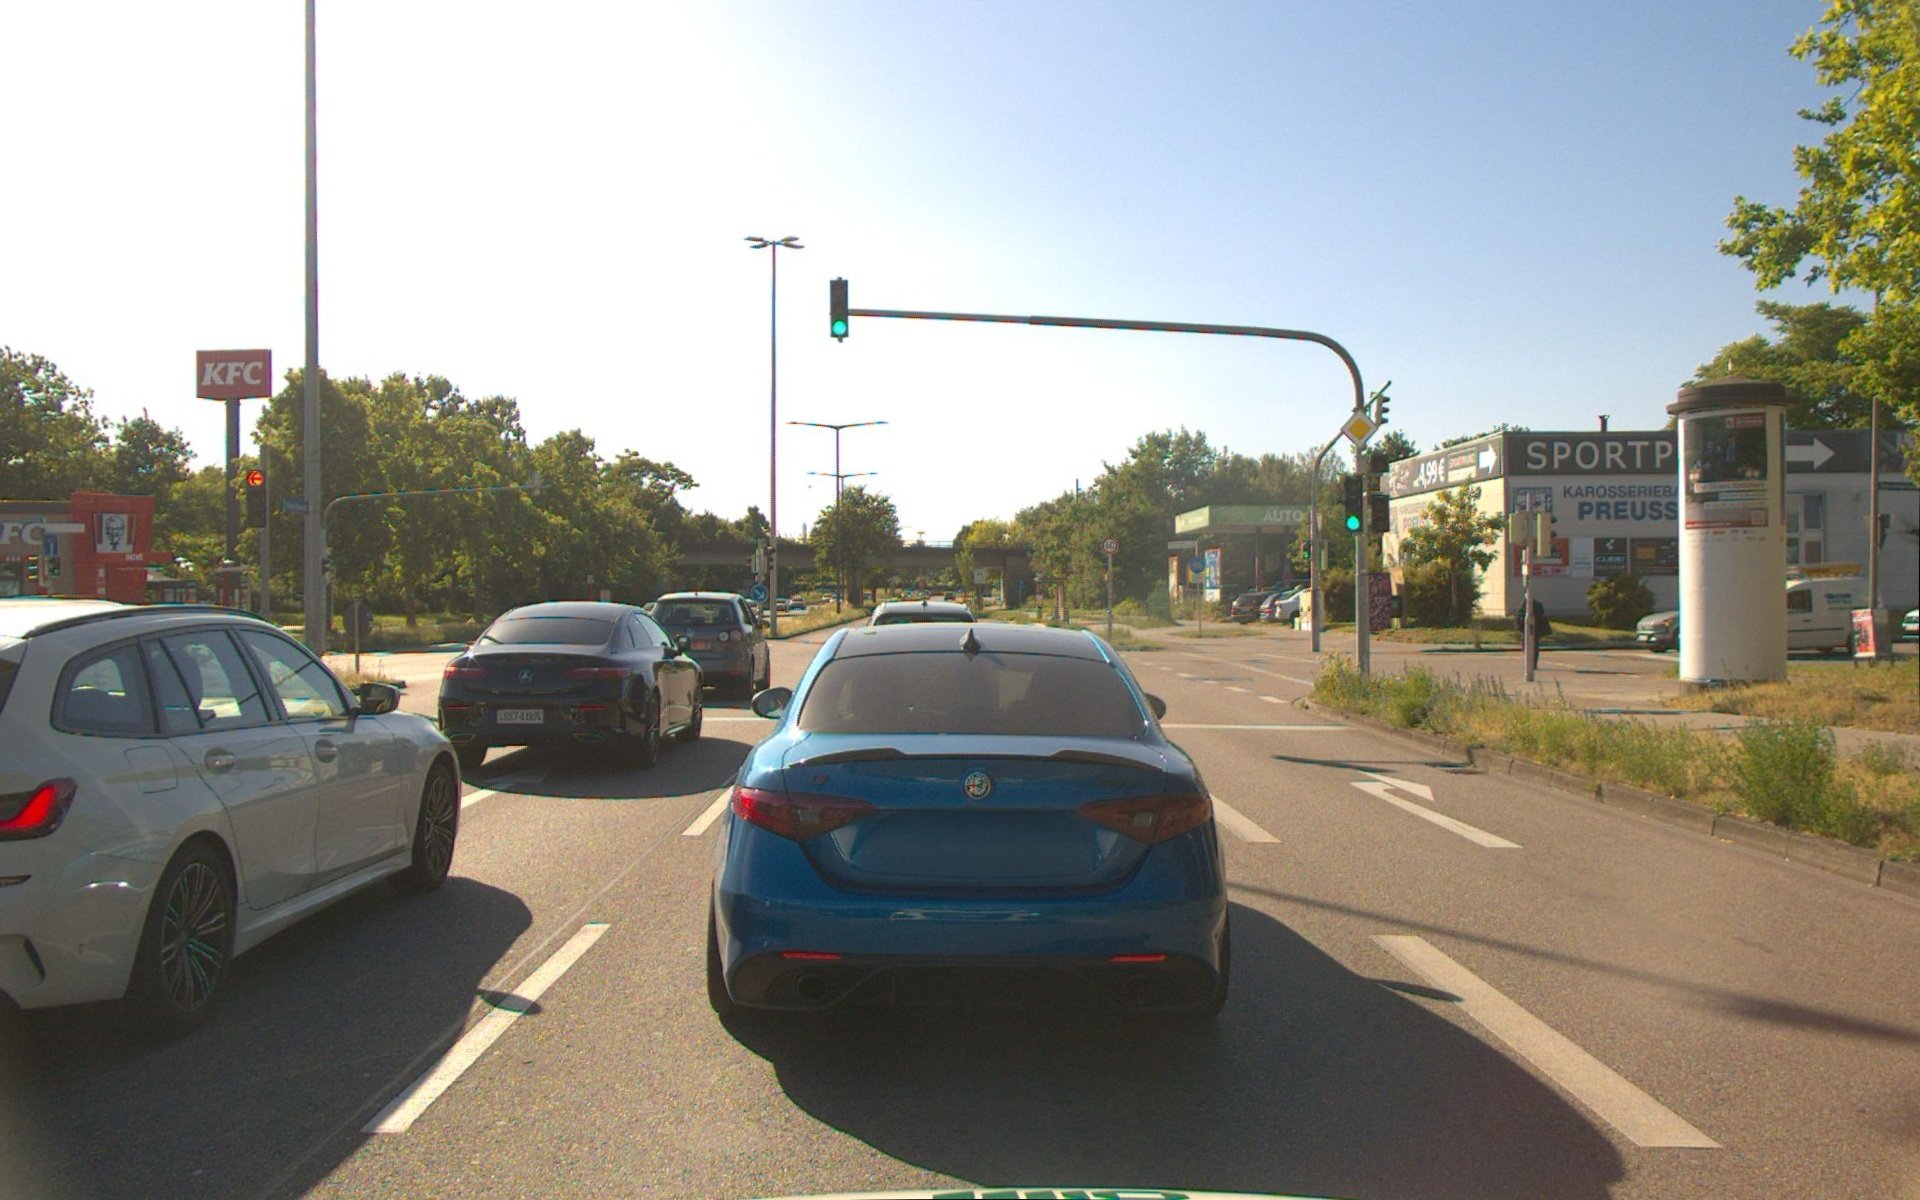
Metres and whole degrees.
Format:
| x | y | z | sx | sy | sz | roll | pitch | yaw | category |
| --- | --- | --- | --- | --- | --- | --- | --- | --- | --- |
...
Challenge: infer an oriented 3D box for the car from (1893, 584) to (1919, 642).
| x | y | z | sx | sy | sz | roll | pitch | yaw | category |
| --- | --- | --- | --- | --- | --- | --- | --- | --- | --- |
| 26.876 | 0.275 | 43.260 | 3.960 | 1.516 | 1.782 | -2 | 0 | -3 | car |

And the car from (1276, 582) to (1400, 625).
| x | y | z | sx | sy | sz | roll | pitch | yaw | category |
| --- | --- | --- | --- | --- | --- | --- | --- | --- | --- |
| 14.667 | 0.135 | 64.350 | 4.397 | 1.479 | 1.858 | -2 | 0 | 1 | car |

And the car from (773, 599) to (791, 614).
| x | y | z | sx | sy | sz | roll | pitch | yaw | category |
| --- | --- | --- | --- | --- | --- | --- | --- | --- | --- |
| -19.057 | 0.730 | 177.457 | 1.583 | 1.587 | 3.357 | 1 | -1 | -1 | car |

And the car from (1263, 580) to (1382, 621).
| x | y | z | sx | sy | sz | roll | pitch | yaw | category |
| --- | --- | --- | --- | --- | --- | --- | --- | --- | --- |
| 14.681 | 0.031 | 67.107 | 4.397 | 1.479 | 1.858 | -2 | 0 | 1 | car |

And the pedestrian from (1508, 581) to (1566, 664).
| x | y | z | sx | sy | sz | roll | pitch | yaw | category |
| --- | --- | --- | --- | --- | --- | --- | --- | --- | --- |
| 12.552 | 0.484 | 36.010 | 0.906 | 1.766 | 0.938 | 1 | -1 | -1 | pedestrian |

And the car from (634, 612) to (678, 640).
| x | y | z | sx | sy | sz | roll | pitch | yaw | category |
| --- | --- | --- | --- | --- | --- | --- | --- | --- | --- |
| -17.506 | 1.505 | 95.528 | 1.723 | 1.516 | 4.477 | -2 | 0 | -1 | car |

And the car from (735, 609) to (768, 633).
| x | y | z | sx | sy | sz | roll | pitch | yaw | category |
| --- | --- | --- | --- | --- | --- | --- | --- | --- | --- |
| -13.966 | 1.400 | 110.744 | 1.723 | 1.516 | 3.836 | -2 | 0 | -1 | car |

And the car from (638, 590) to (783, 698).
| x | y | z | sx | sy | sz | roll | pitch | yaw | category |
| --- | --- | --- | --- | --- | --- | --- | --- | --- | --- |
| -3.819 | 0.659 | 25.980 | 1.723 | 1.516 | 4.401 | 1 | -1 | -2 | car |

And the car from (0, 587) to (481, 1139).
| x | y | z | sx | sy | sz | roll | pitch | yaw | category |
| --- | --- | --- | --- | --- | --- | --- | --- | --- | --- |
| -3.415 | 0.731 | 6.724 | 1.749 | 1.516 | 4.401 | 1 | -1 | -2 | car |

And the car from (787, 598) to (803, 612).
| x | y | z | sx | sy | sz | roll | pitch | yaw | category |
| --- | --- | --- | --- | --- | --- | --- | --- | --- | --- |
| -19.651 | 0.590 | 197.026 | 1.577 | 1.675 | 3.462 | 1 | -1 | -1 | car |

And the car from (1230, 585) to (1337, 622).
| x | y | z | sx | sy | sz | roll | pitch | yaw | category |
| --- | --- | --- | --- | --- | --- | --- | --- | --- | --- |
| 14.385 | 0.165 | 73.725 | 4.397 | 1.479 | 1.858 | -2 | 0 | 1 | car |

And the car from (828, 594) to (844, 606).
| x | y | z | sx | sy | sz | roll | pitch | yaw | category |
| --- | --- | --- | --- | --- | --- | --- | --- | --- | --- |
| -15.960 | -0.006 | 213.649 | 1.723 | 1.516 | 4.477 | -2 | 0 | -1 | car |

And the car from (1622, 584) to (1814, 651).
| x | y | z | sx | sy | sz | roll | pitch | yaw | category |
| --- | --- | --- | --- | --- | --- | --- | --- | --- | --- |
| 19.622 | 0.437 | 42.927 | 4.201 | 1.576 | 1.764 | -1 | 1 | -2 | car |

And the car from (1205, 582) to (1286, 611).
| x | y | z | sx | sy | sz | roll | pitch | yaw | category |
| --- | --- | --- | --- | --- | --- | --- | --- | --- | --- |
| 16.776 | -0.183 | 97.219 | 4.457 | 1.516 | 1.765 | -2 | 0 | 1 | car |

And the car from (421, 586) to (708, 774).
| x | y | z | sx | sy | sz | roll | pitch | yaw | category |
| --- | --- | --- | --- | --- | --- | --- | --- | --- | --- |
| -3.576 | 0.679 | 15.789 | 1.760 | 1.516 | 4.474 | 1 | -1 | -2 | car |

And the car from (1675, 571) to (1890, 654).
| x | y | z | sx | sy | sz | roll | pitch | yaw | category |
| --- | --- | --- | --- | --- | --- | --- | --- | --- | --- |
| 19.650 | 0.279 | 39.593 | 4.293 | 1.833 | 1.764 | -1 | 1 | -2 | car |

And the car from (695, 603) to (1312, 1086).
| x | y | z | sx | sy | sz | roll | pitch | yaw | category |
| --- | --- | --- | --- | --- | --- | --- | --- | --- | --- |
| 0.072 | 0.770 | 7.229 | 1.857 | 1.443 | 4.401 | 1 | -1 | -2 | car |

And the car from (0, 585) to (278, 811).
| x | y | z | sx | sy | sz | roll | pitch | yaw | category |
| --- | --- | --- | --- | --- | --- | --- | --- | --- | --- |
| -7.151 | 0.669 | 13.233 | 1.723 | 1.516 | 4.195 | 1 | -1 | -2 | car |

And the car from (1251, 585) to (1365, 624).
| x | y | z | sx | sy | sz | roll | pitch | yaw | category |
| --- | --- | --- | --- | --- | --- | --- | --- | --- | --- |
| 14.703 | 0.196 | 69.978 | 4.397 | 1.479 | 1.858 | -2 | 0 | 1 | car |

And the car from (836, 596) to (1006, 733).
| x | y | z | sx | sy | sz | roll | pitch | yaw | category |
| --- | --- | --- | --- | --- | --- | --- | --- | --- | --- |
| -0.491 | 0.720 | 20.063 | 1.813 | 1.443 | 4.401 | 1 | -1 | -2 | car |
